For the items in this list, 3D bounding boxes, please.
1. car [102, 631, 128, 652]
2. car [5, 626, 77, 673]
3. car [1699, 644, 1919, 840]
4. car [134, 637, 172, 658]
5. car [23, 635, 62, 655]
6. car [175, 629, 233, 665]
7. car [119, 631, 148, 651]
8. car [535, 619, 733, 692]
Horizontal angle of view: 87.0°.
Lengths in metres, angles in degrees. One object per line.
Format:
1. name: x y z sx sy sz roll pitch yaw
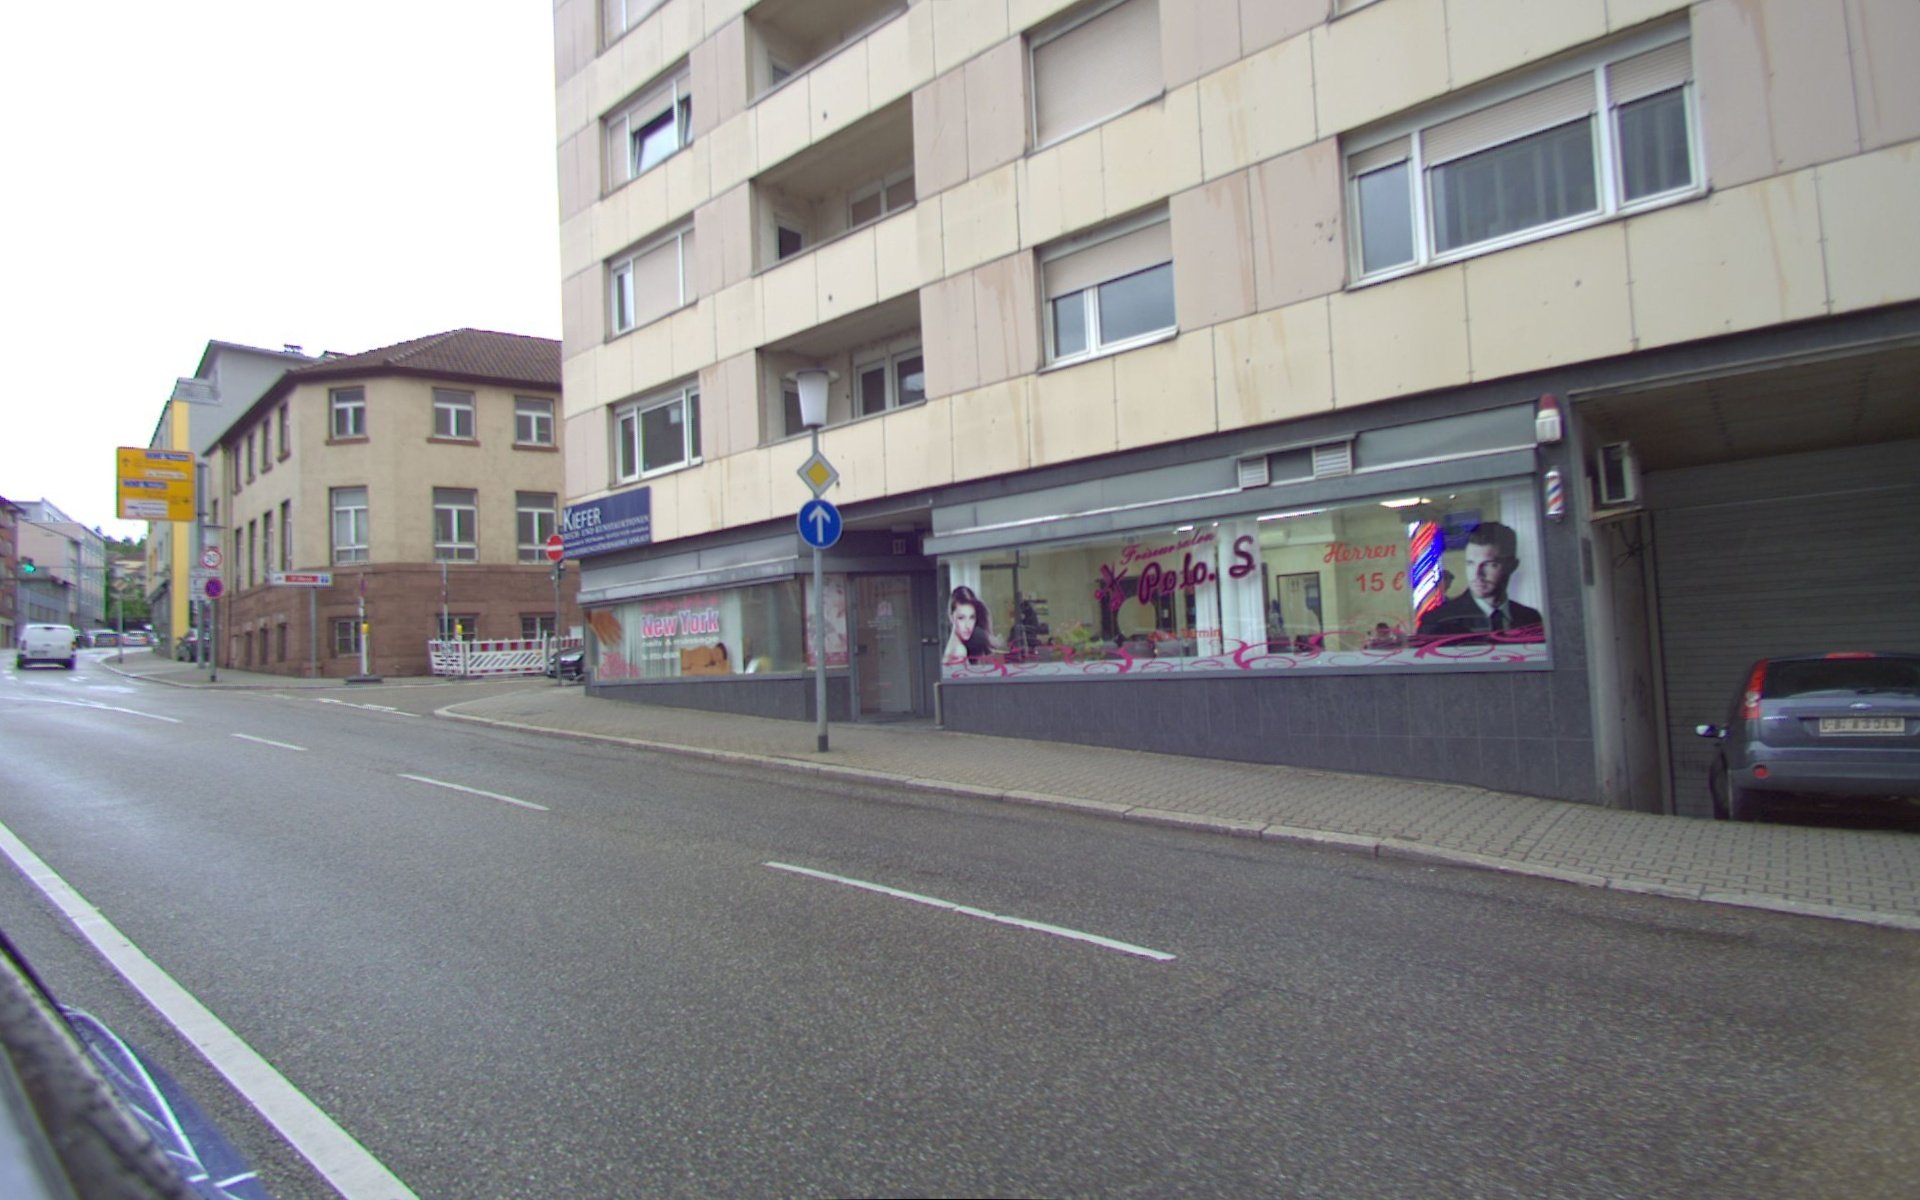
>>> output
1. car: -79.619 3.919 95.333 1.821 1.918 3.771 0 -2 -40
2. car: -37.931 2.008 41.738 4.266 1.817 1.841 -2 -3 43
3. car: 7.644 1.260 8.812 1.674 1.361 3.955 -4 -10 33
4. car: -58.189 3.426 72.947 1.835 1.465 4.323 4 -5 -42
5. car: -69.341 3.403 76.548 1.834 1.465 4.327 1 -2 -38
6. car: -34.177 2.107 45.720 1.834 1.465 3.969 -3 0 -40
7. car: -72.806 3.571 89.106 1.834 1.711 4.325 2 -3 -40
8. car: -7.969 1.304 24.958 4.296 1.515 1.757 -1 -1 -39
